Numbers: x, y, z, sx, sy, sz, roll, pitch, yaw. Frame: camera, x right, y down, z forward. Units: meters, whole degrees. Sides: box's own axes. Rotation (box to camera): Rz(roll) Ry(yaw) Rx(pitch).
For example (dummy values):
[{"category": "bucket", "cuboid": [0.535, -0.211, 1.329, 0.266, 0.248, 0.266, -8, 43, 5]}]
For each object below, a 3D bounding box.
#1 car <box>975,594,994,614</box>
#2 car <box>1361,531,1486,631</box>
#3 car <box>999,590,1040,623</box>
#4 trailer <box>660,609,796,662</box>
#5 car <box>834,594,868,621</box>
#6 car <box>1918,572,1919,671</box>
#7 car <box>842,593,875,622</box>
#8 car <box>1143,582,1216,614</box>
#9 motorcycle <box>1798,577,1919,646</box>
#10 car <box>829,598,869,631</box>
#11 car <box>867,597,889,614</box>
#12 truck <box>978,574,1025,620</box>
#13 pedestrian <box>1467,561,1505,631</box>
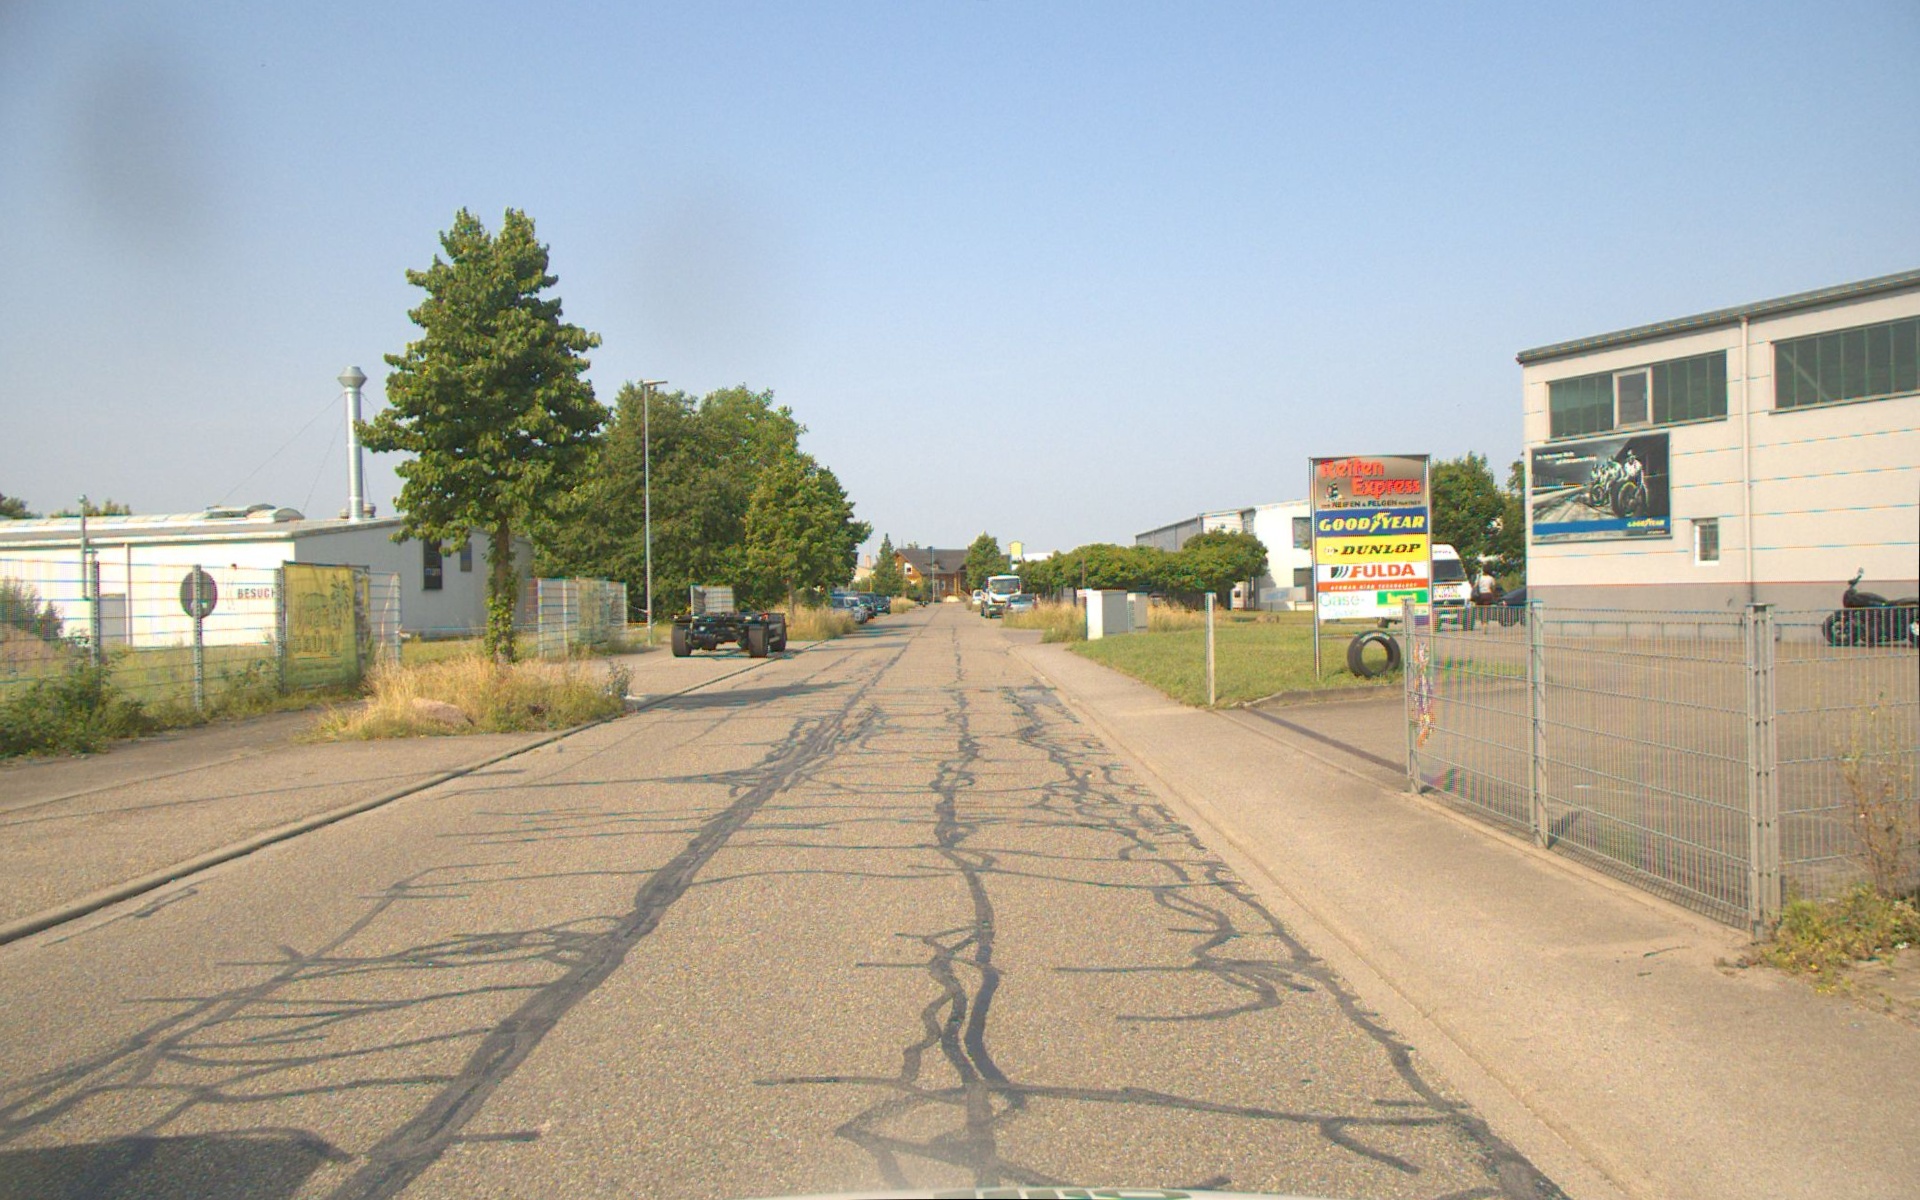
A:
[{"category": "car", "cuboid": [2.491, 0.405, 167.858, 1.800, 1.957, 3.756, -2, 0, 0]}, {"category": "car", "cuboid": [13.669, -0.535, 49.175, 1.934, 2.753, 5.879, -1, 0, -1]}, {"category": "car", "cuboid": [2.907, 0.308, 81.849, 1.757, 1.544, 4.423, -2, 0, -1]}, {"category": "trailer", "cuboid": [-6.171, 0.896, 45.373, 2.530, 1.205, 9.361, 0, 0, -1]}, {"category": "car", "cuboid": [-6.068, 0.394, 92.279, 1.649, 1.495, 4.253, 0, 0, 0]}, {"category": "car", "cuboid": [4.197, 0.594, 3.846, 1.638, 1.392, 4.396, -1, 0, 4]}, {"category": "car", "cuboid": [-6.584, 0.442, 107.849, 1.818, 1.744, 4.226, -3, 0, 0]}, {"category": "car", "cuboid": [12.473, -0.129, 93.800, 1.659, 1.616, 4.501, -2, 0, 45]}, {"category": "motorcycle", "cuboid": [15.258, 0.181, 27.698, 0.790, 1.114, 2.186, -1, 0, -24]}, {"category": "car", "cuboid": [-5.535, 0.708, 82.742, 1.534, 1.565, 3.689, -2, 0, 2]}, {"category": "car", "cuboid": [-6.954, 0.456, 141.091, 1.763, 1.411, 3.637, 0, 0, -1]}, {"category": "truck", "cuboid": [2.611, -0.192, 105.494, 2.312, 2.728, 6.506, -2, 0, -4]}, {"category": "pedestrian", "cuboid": [12.694, -0.104, 39.903, 0.689, 1.668, 0.747, -1, 0, 30]}]
